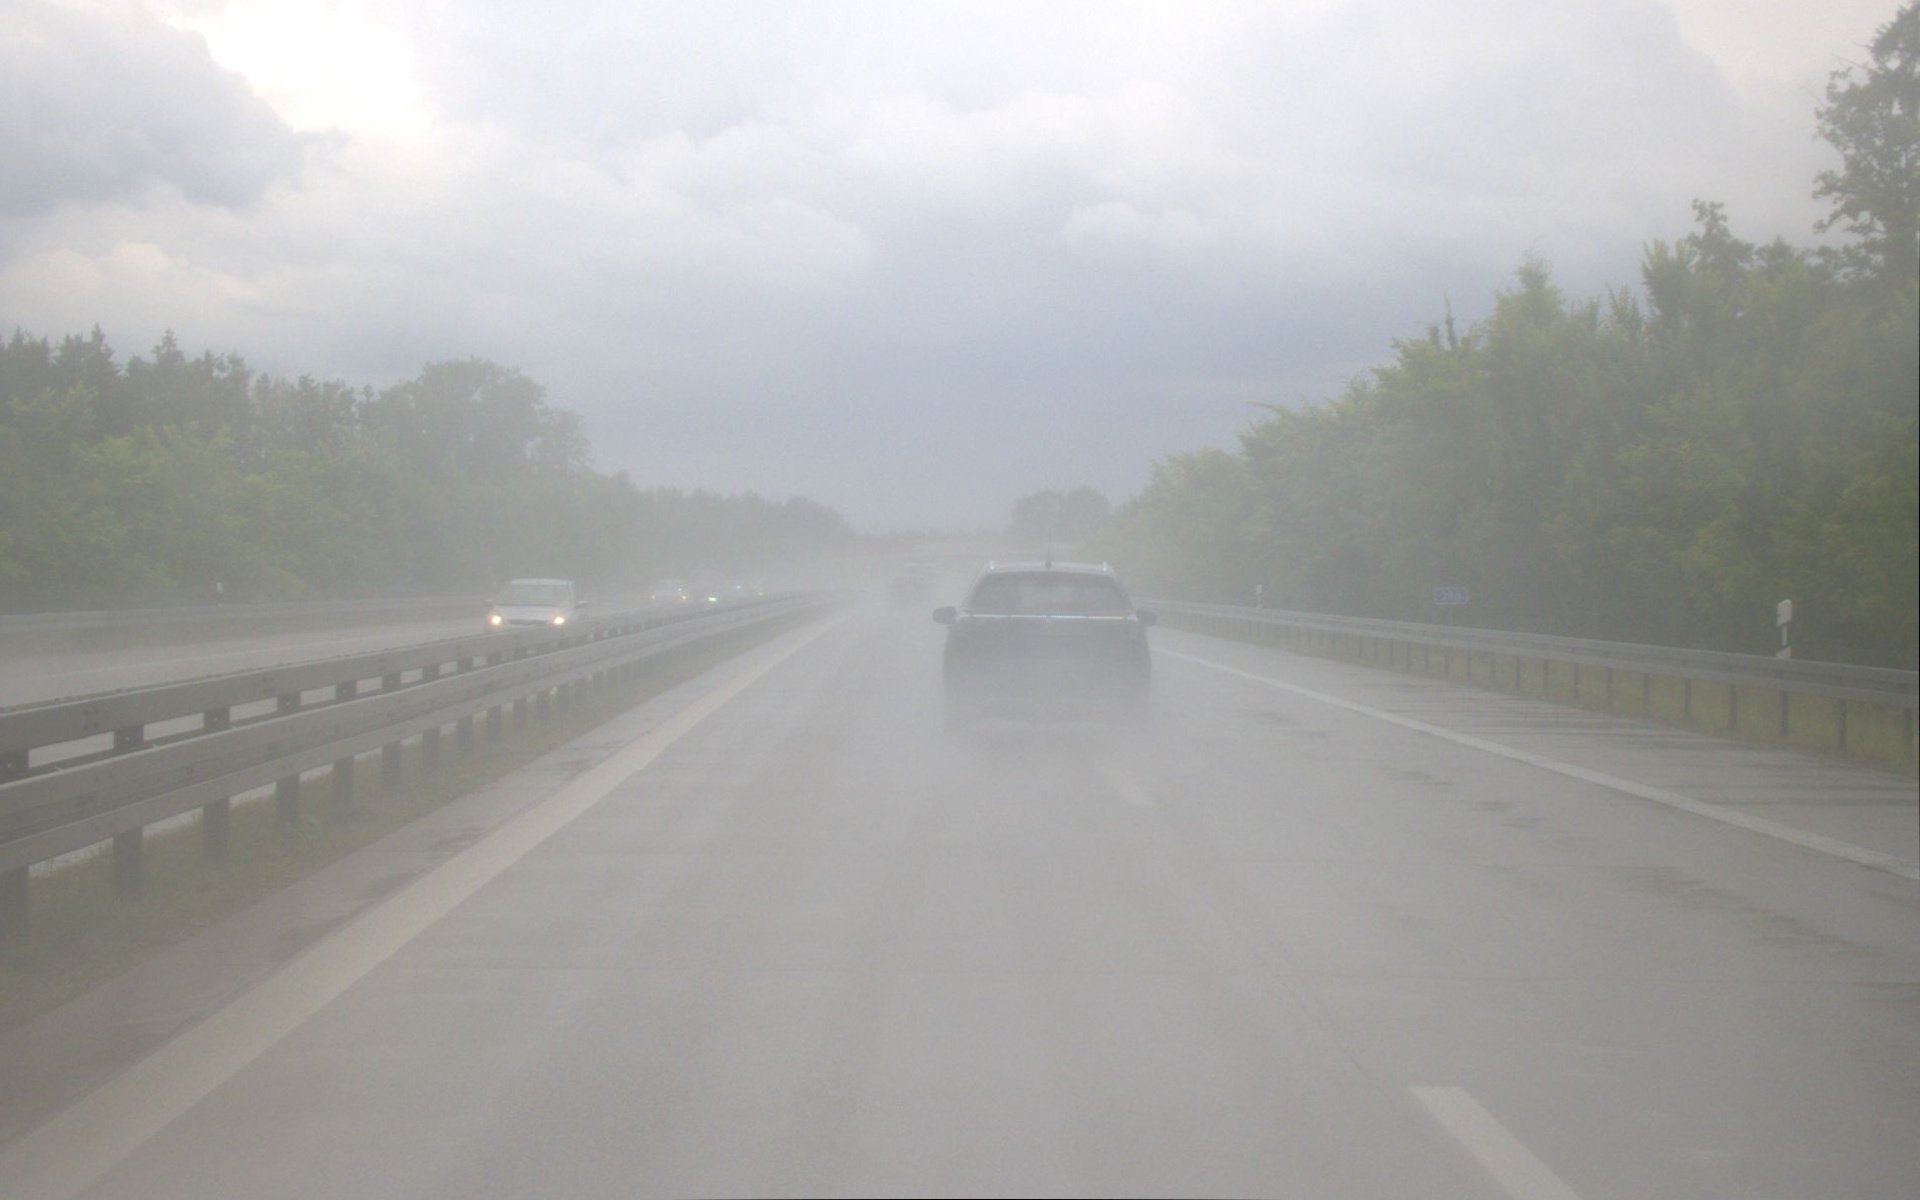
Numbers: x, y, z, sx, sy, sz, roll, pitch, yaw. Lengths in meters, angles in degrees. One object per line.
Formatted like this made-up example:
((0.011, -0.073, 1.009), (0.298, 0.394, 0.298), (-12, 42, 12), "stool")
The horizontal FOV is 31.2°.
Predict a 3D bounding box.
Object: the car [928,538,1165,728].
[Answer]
((0.715, 0.302, 30.894), (1.894, 1.571, 3.632), (1, -1, -2), "car")

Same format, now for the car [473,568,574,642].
((-8.886, 0.072, 70.254), (1.767, 1.413, 4.607), (-1, 1, -4), "car")
